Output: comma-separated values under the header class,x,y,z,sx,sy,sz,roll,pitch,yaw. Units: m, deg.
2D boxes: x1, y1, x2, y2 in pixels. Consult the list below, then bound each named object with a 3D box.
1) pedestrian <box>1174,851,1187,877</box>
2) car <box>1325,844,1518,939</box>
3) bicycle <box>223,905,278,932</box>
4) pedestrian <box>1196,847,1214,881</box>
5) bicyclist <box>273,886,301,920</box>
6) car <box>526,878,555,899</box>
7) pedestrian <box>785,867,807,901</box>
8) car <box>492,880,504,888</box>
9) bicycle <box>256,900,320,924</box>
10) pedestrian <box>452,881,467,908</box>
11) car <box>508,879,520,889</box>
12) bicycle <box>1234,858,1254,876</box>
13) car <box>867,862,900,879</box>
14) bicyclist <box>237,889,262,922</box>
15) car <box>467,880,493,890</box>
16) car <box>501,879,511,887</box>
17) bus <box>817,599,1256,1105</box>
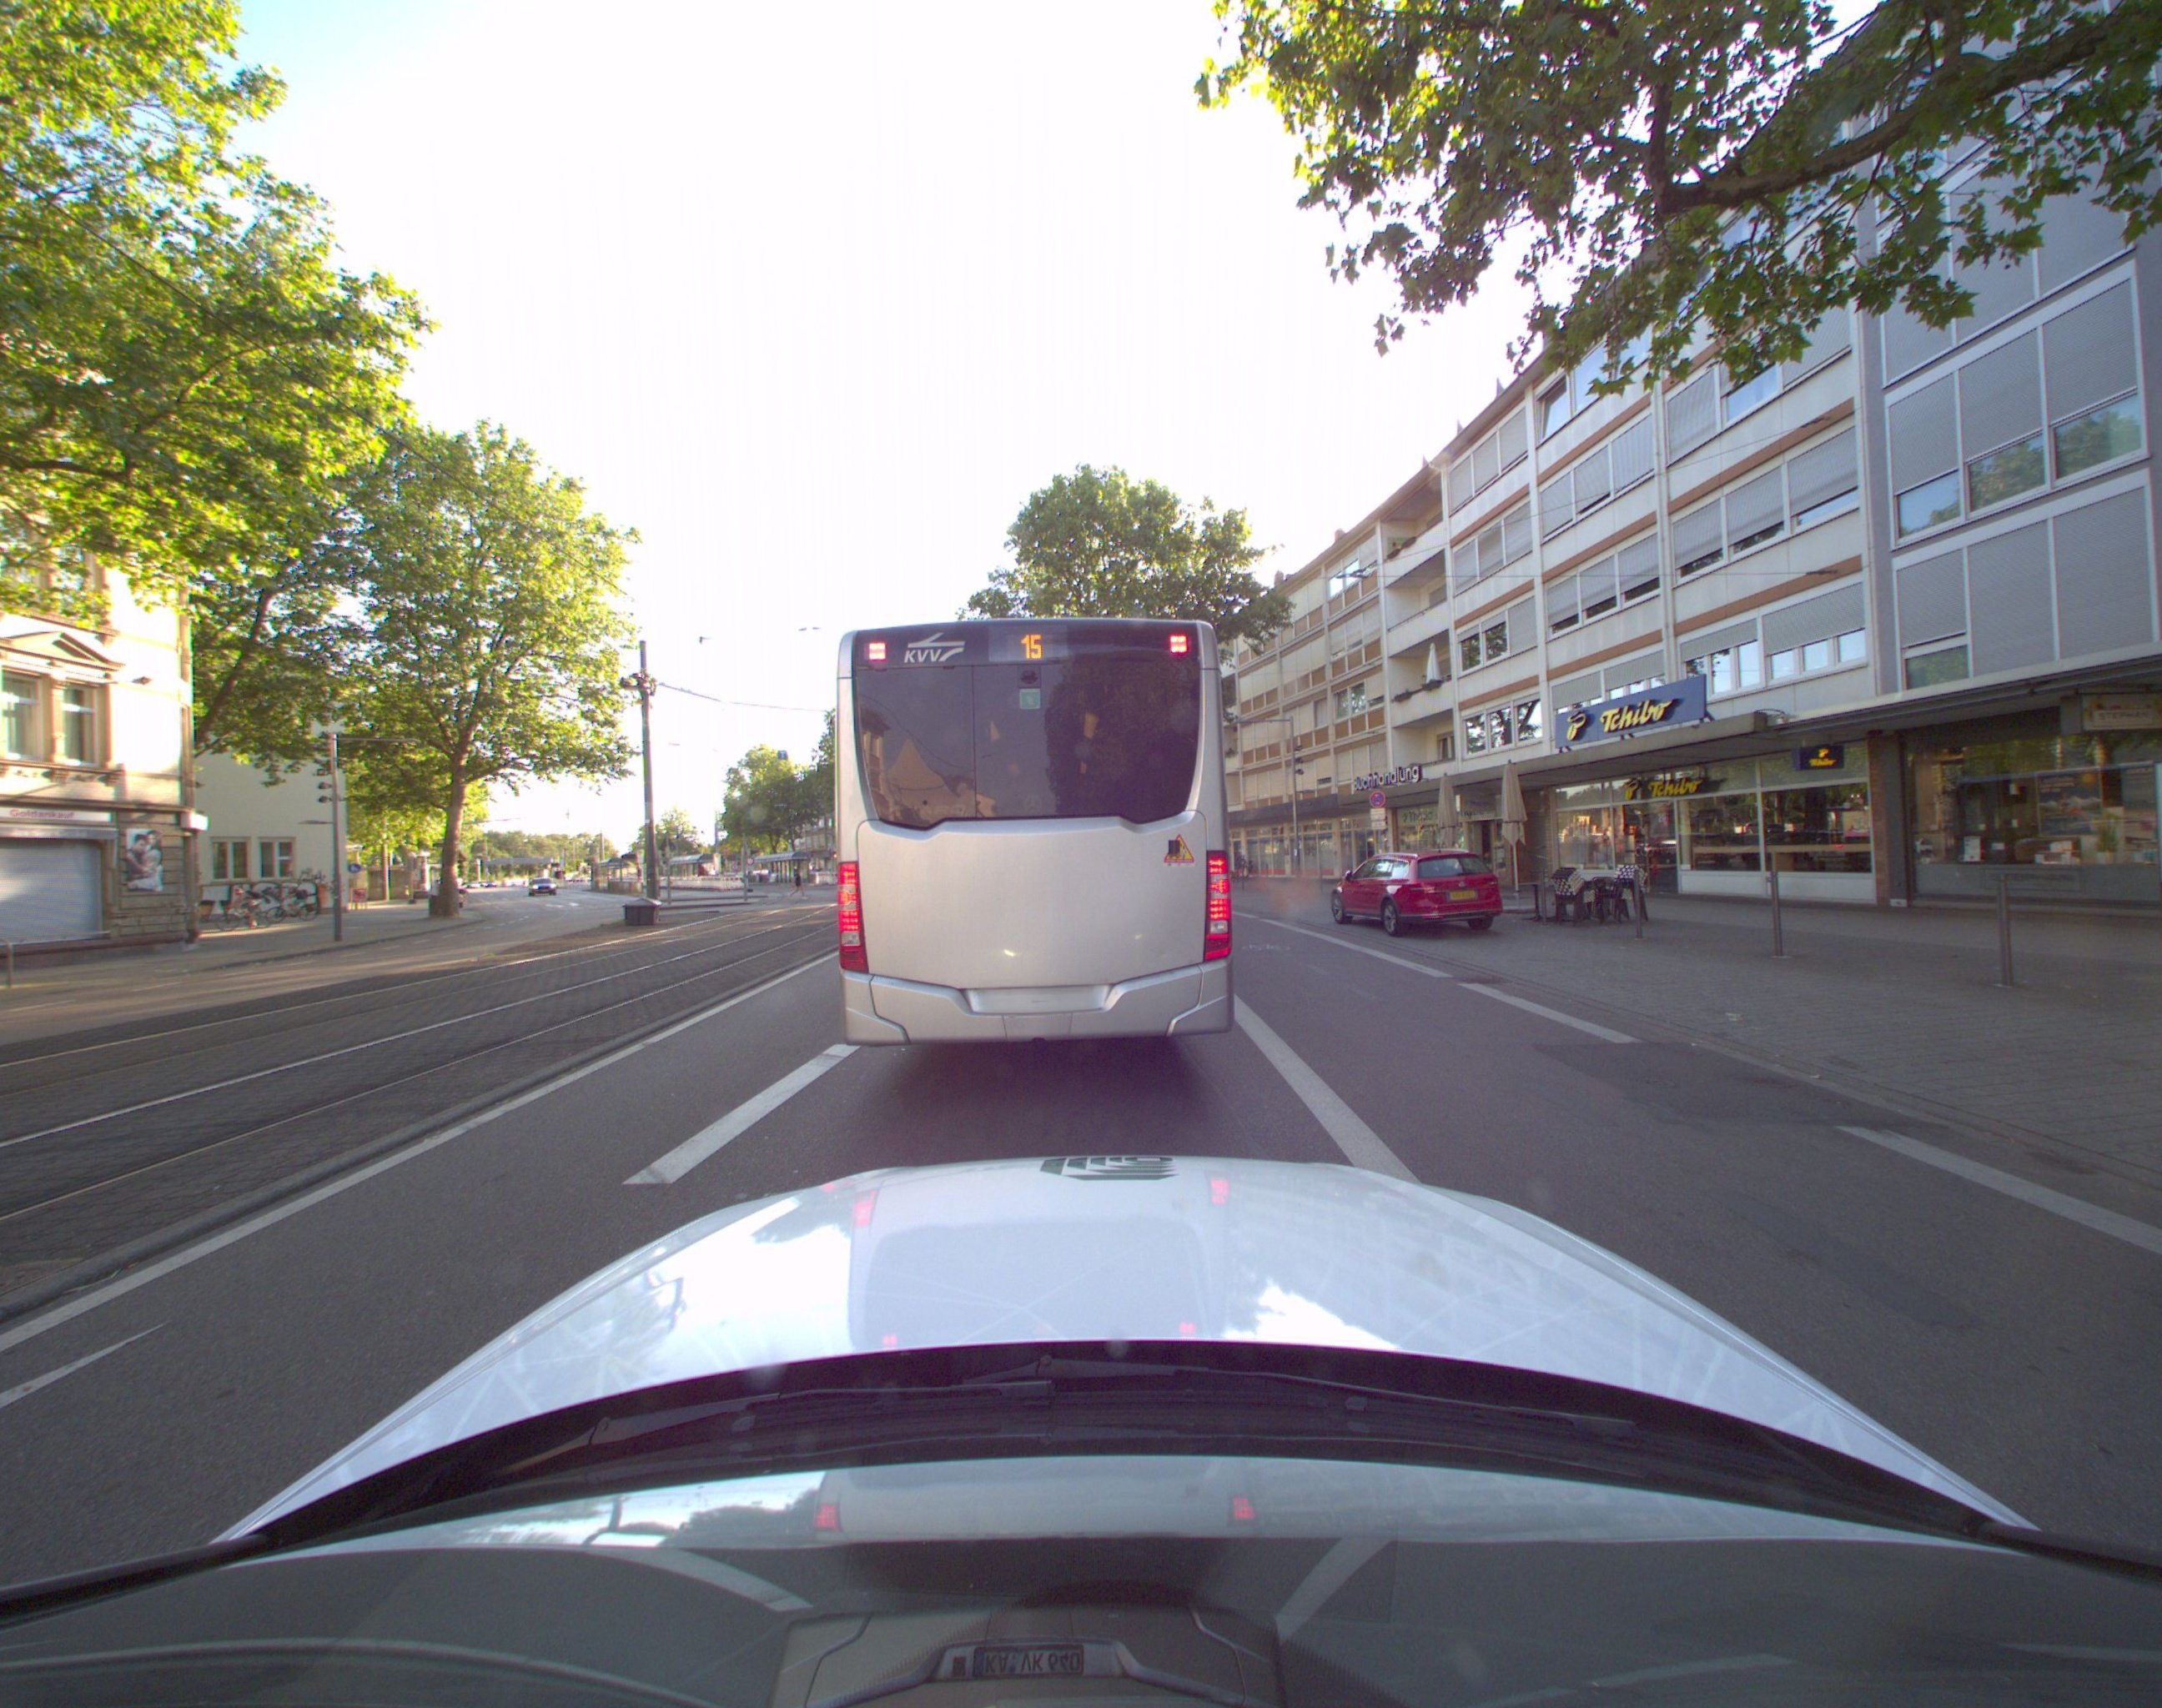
class,x,y,z,sx,sy,sz,roll,pitch,yaw
pedestrian,6.295,0.630,51.637,0.536,1.648,0.612,-2,-1,-15
car,6.369,0.644,15.834,1.765,1.482,4.300,-3,0,-2
bicycle,-34.099,2.624,33.460,0.445,0.985,1.520,-3,-1,36
pedestrian,6.314,0.525,41.538,0.646,1.717,0.557,-2,-1,-14
bicyclist,-36.016,2.218,36.925,0.746,1.444,0.847,-3,-1,43
car,-46.724,2.957,70.462,2.008,1.640,3.958,-2,-1,-33
pedestrian,-14.825,1.560,42.349,0.994,1.686,0.642,-1,-2,-10
car,-117.840,6.076,164.672,1.858,1.684,3.676,-2,-1,-35
bicycle,-35.966,2.603,36.952,0.750,0.937,2.037,-3,-1,43
pedestrian,-39.512,2.590,51.783,0.661,1.656,0.438,-2,-1,-41
car,-111.458,5.889,160.012,1.858,1.684,3.677,-4,1,-35
bicycle,9.151,0.737,45.832,0.413,0.945,1.431,-2,-1,-18
car,-21.579,1.791,88.713,2.010,1.792,3.954,0,-1,-39
bicyclist,-34.139,2.118,33.440,0.451,1.293,0.645,-3,-1,36
car,-122.679,6.312,166.135,1.768,1.640,4.024,-3,-1,44
car,-130.104,6.462,184.190,1.858,1.684,3.676,-2,-1,-35
bus,-0.127,0.018,9.945,2.621,3.028,10.000,-1,0,2
